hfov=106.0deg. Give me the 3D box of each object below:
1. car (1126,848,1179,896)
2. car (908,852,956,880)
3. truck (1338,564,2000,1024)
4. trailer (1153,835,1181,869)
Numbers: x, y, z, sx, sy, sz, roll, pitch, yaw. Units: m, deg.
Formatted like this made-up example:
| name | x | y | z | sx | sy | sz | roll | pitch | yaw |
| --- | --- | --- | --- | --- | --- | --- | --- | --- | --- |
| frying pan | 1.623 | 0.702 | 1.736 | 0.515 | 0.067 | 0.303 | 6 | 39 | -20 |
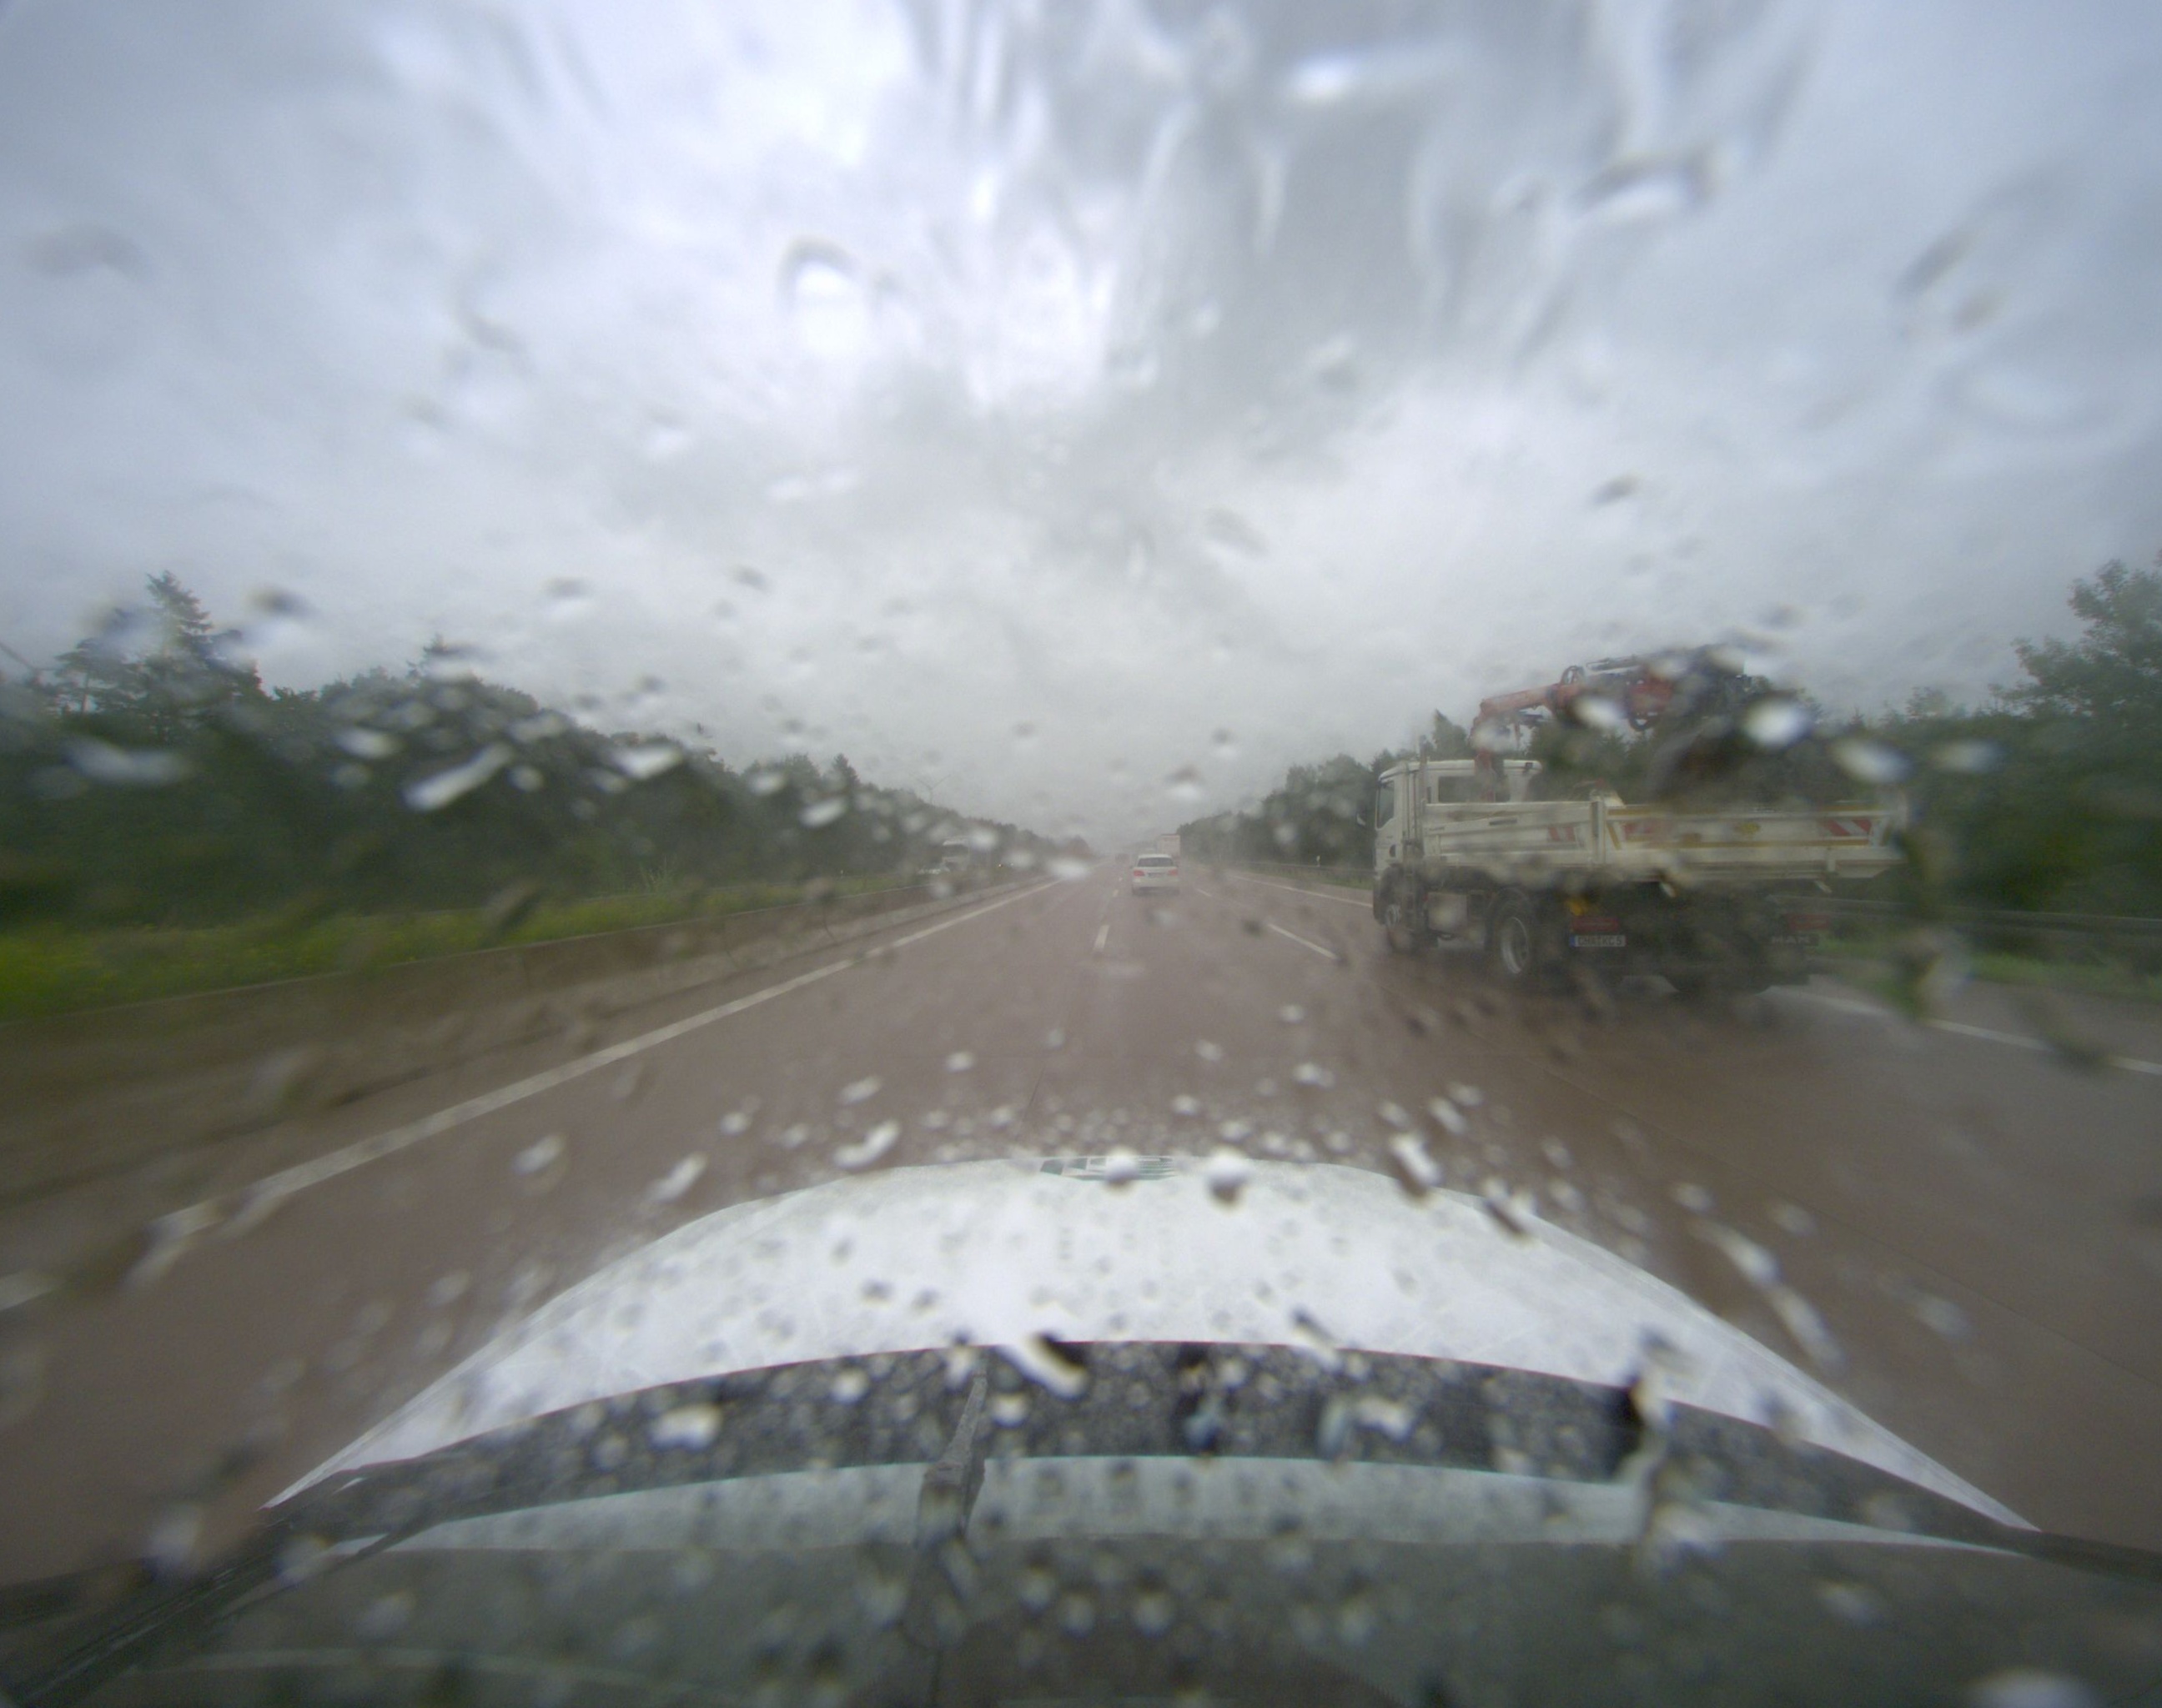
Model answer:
| name | x | y | z | sx | sy | sz | roll | pitch | yaw |
| --- | --- | --- | --- | --- | --- | --- | --- | --- | --- |
| car | 2.732 | 0.648 | 32.184 | 1.801 | 1.728 | 4.745 | -1 | 0 | 2 |
| car | -10.978 | 0.841 | 60.541 | 2.297 | 1.978 | 5.759 | -1 | 0 | 2 |
| truck | 6.047 | -0.483 | 10.658 | 3.221 | 3.730 | 7.961 | -1 | 0 | 3 |
| trailer | 11.709 | -0.320 | 112.160 | 2.841 | 4.231 | 13.140 | -3 | 0 | 2 |
